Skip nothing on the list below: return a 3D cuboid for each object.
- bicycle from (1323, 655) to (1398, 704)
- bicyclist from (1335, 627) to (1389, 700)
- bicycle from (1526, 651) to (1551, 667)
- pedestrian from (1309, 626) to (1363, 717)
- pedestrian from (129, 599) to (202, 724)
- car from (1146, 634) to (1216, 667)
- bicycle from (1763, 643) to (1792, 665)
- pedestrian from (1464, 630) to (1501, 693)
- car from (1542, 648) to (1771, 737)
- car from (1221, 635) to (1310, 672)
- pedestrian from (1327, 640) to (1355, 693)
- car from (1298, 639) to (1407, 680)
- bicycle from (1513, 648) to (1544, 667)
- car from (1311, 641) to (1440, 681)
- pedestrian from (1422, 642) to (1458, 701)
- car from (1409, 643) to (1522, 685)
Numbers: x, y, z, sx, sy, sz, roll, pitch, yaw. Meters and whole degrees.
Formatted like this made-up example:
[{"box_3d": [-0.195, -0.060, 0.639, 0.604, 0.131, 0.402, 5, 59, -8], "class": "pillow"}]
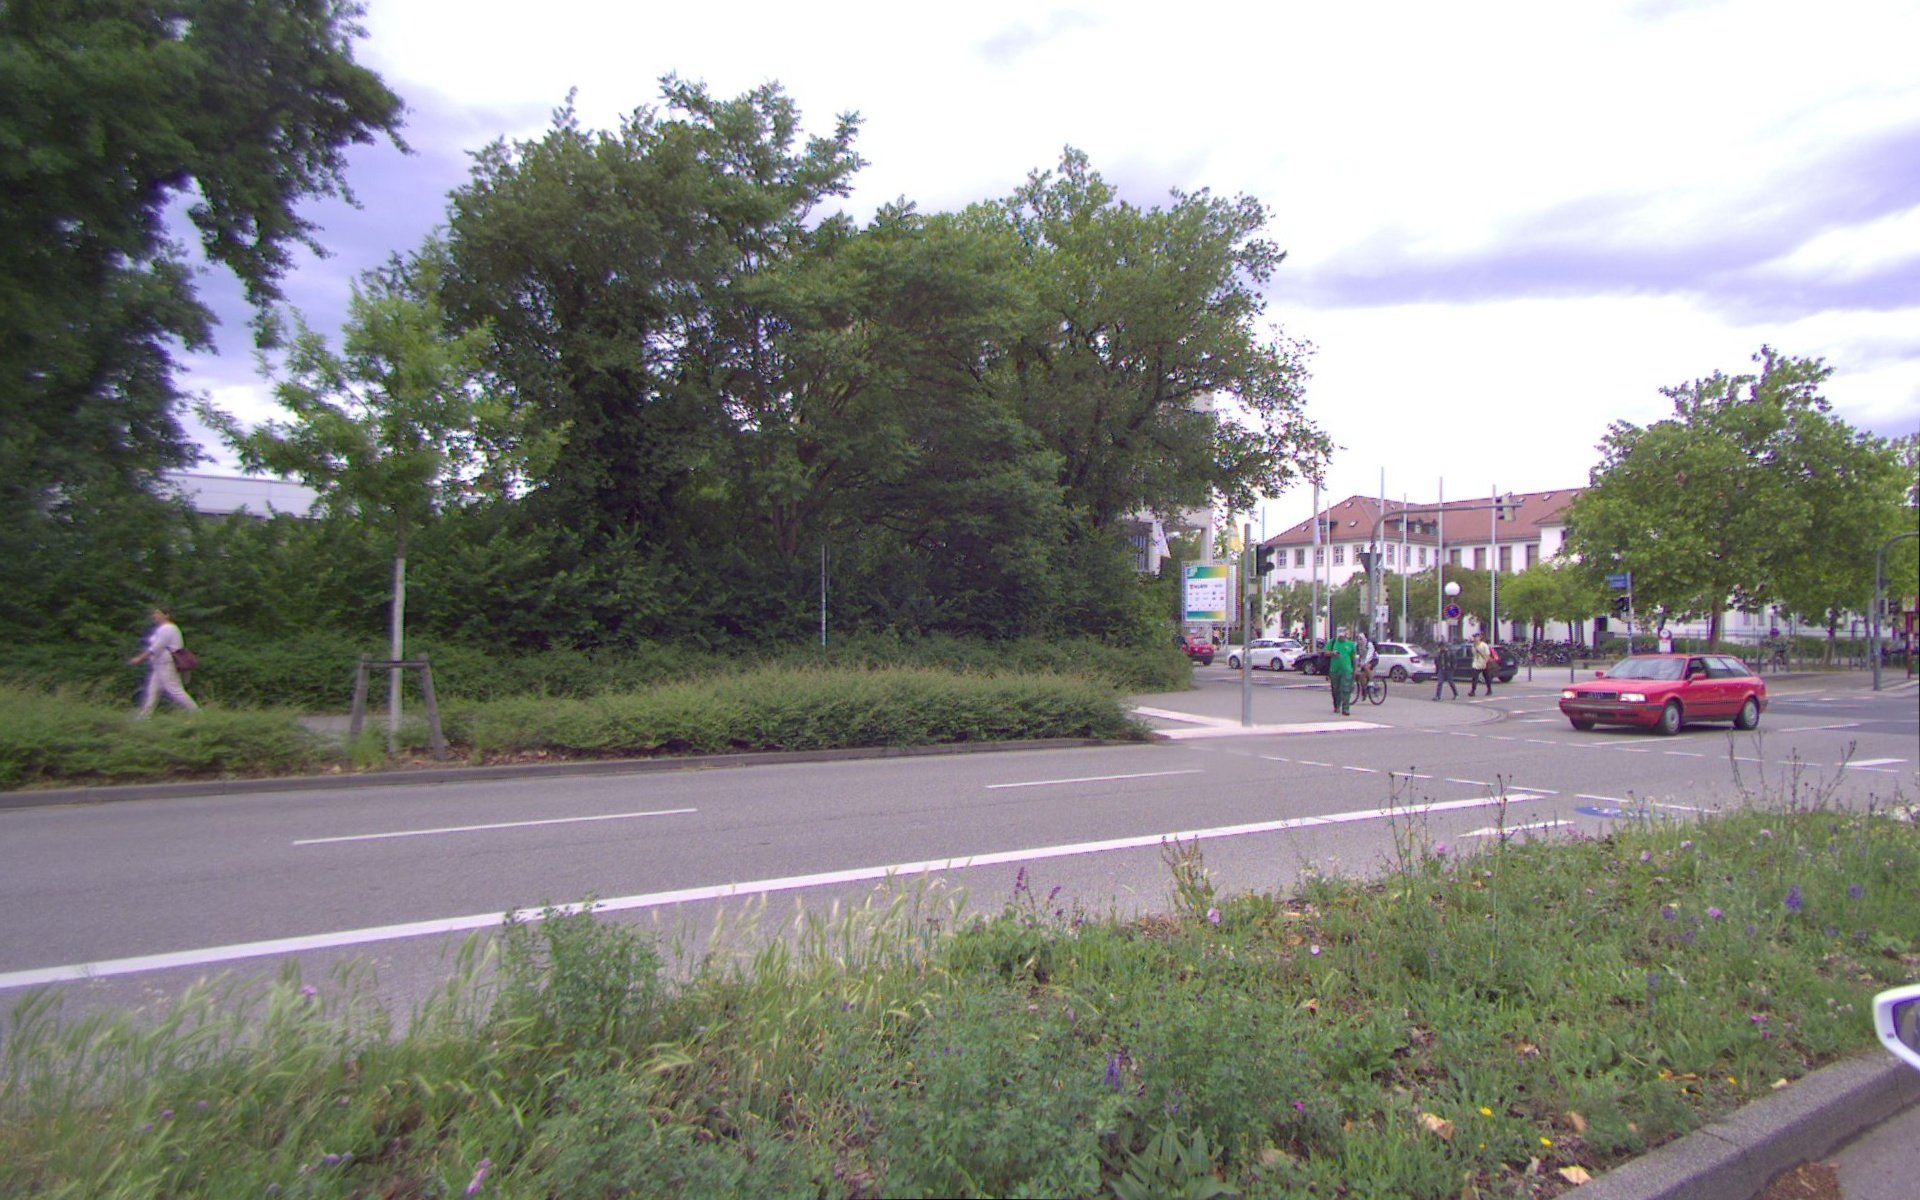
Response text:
[{"box_3d": [9.389, 1.860, 23.553, 1.596, 1.076, 0.665, 2, -1, -22], "class": "bicycle"}, {"box_3d": [9.423, 1.487, 23.561, 0.947, 1.657, 0.665, 2, -1, -22], "class": "bicyclist"}, {"box_3d": [32.659, 3.313, 56.680, 1.191, 0.892, 0.263, -2, -3, 38], "class": "bicycle"}, {"box_3d": [7.711, 1.443, 20.623, 0.924, 1.782, 0.876, 2, -1, 16], "class": "pedestrian"}, {"box_3d": [-10.900, 0.836, 13.799, 0.663, 1.657, 0.697, 1, -3, -30], "class": "pedestrian"}, {"box_3d": [11.345, 2.561, 51.707, 1.547, 1.499, 3.322, 1, 0, -36], "class": "car"}, {"box_3d": [40.981, 2.702, 50.354, 2.025, 1.074, 0.603, 1, -3, -37], "class": "bicycle"}, {"box_3d": [15.056, 1.772, 28.934, 0.829, 1.761, 0.828, 0, -6, 36], "class": "pedestrian"}, {"box_3d": [12.862, 1.622, 18.521, 4.240, 1.437, 1.707, 1, -2, -28], "class": "car"}, {"box_3d": [14.404, 2.480, 47.534, 1.667, 1.560, 3.857, -1, 0, -32], "class": "car"}, {"box_3d": [11.468, 2.001, 30.207, 0.563, 1.545, 0.846, 0, -6, 36], "class": "pedestrian"}, {"box_3d": [16.640, 2.490, 42.679, 4.006, 1.472, 1.613, -2, 3, 43], "class": "car"}, {"box_3d": [31.929, 3.243, 56.435, 1.385, 1.066, 0.586, -3, -3, 41], "class": "bicycle"}, {"box_3d": [15.639, 2.280, 37.936, 1.698, 1.450, 4.176, 2, -3, -42], "class": "car"}, {"box_3d": [13.310, 1.994, 27.854, 0.776, 1.578, 0.700, 2, -4, 16], "class": "pedestrian"}, {"box_3d": [19.690, 2.464, 39.228, 1.548, 1.240, 3.630, -7, 4, -35], "class": "car"}]
